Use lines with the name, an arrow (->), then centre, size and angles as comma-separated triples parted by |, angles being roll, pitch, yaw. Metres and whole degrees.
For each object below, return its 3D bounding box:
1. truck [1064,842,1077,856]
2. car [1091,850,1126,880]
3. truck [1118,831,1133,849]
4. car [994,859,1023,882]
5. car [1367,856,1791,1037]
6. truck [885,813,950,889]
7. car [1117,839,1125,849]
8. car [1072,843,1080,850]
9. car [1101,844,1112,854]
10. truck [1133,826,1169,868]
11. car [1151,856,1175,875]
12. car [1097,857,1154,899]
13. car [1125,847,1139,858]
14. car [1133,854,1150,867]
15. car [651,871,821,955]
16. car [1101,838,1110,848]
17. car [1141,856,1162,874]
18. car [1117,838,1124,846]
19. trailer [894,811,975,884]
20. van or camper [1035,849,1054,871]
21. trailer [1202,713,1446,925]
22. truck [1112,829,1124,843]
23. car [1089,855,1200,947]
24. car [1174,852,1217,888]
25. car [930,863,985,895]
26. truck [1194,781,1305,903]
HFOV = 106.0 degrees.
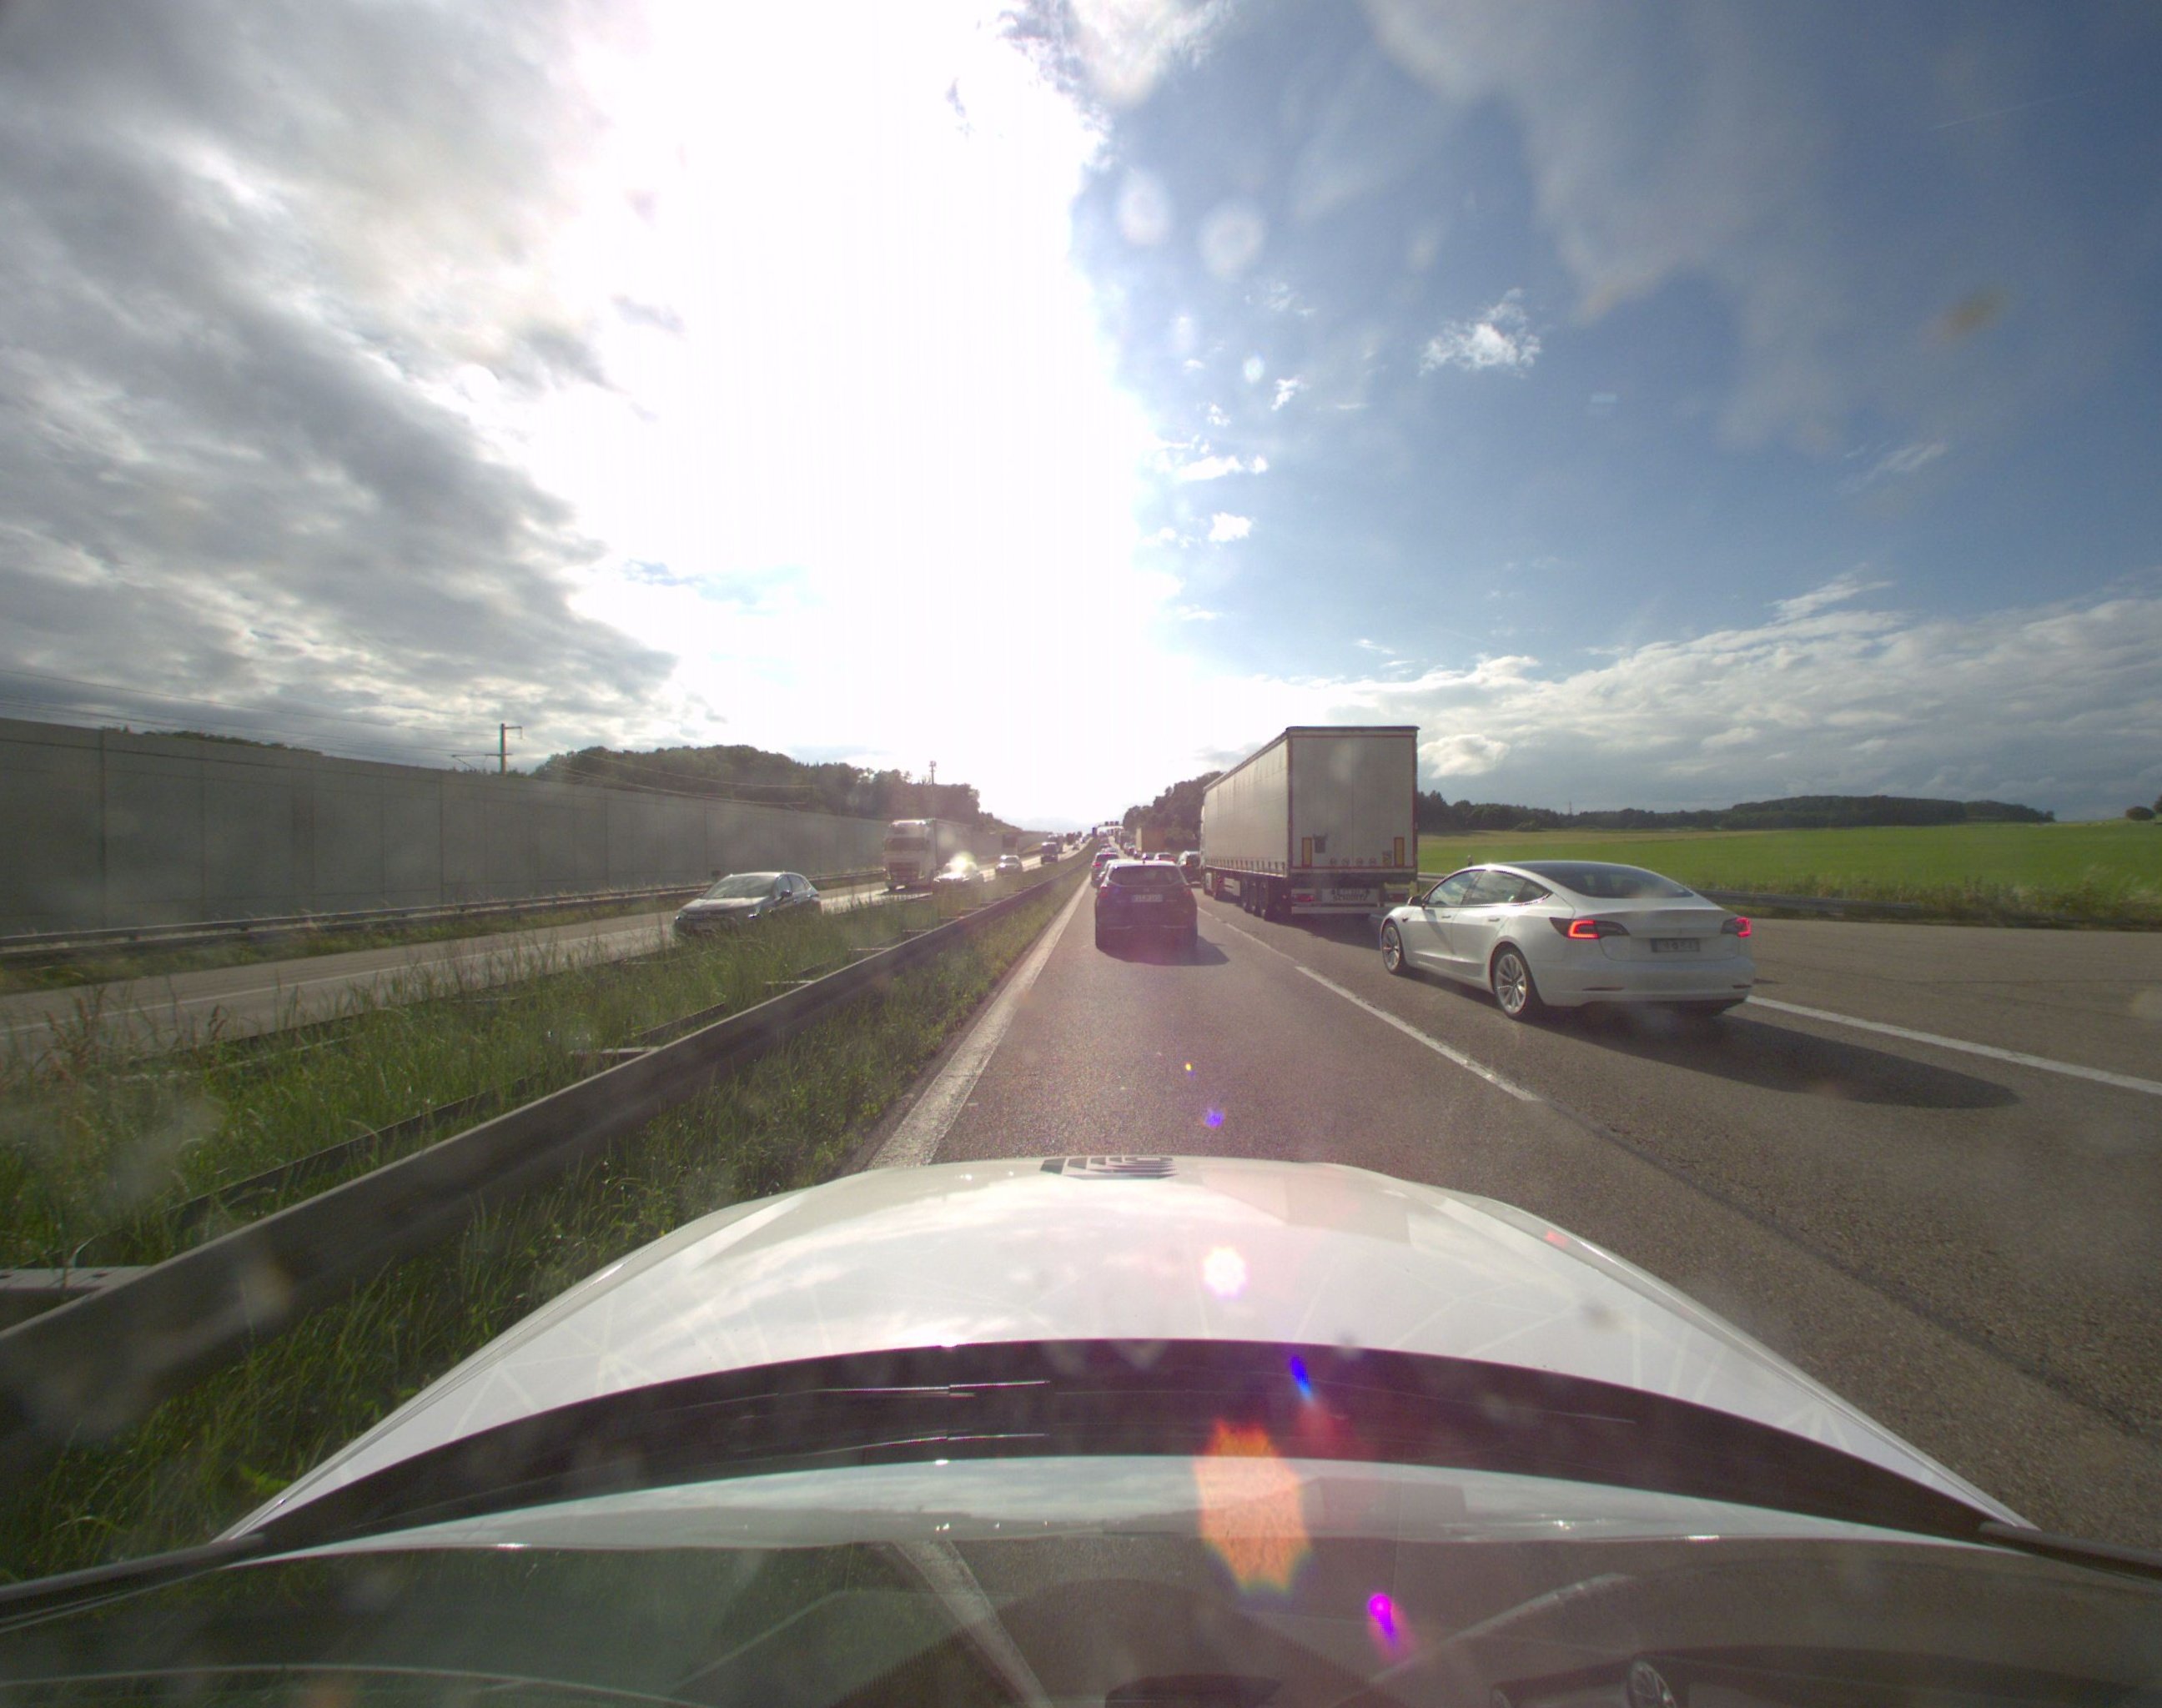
truck -> -3.273, -1.616, 265.335 | 3.283, 4.554, 12.452 | -1, 0, 3
car -> 1.588, 0.617, 47.151 | 1.866, 1.644, 4.234 | -1, -1, 2
truck -> 12.082, -3.787, 220.879 | 3.452, 4.577, 12.441 | 0, 1, 1
car -> -5.555, 1.236, 62.804 | 1.702, 1.706, 4.174 | -1, -1, 1
car -> 4.728, 0.742, 8.669 | 1.783, 1.394, 4.435 | -1, 0, 0
truck -> -9.599, -0.150, 48.426 | 2.371, 4.181, 5.934 | -2, -1, 2
car -> 9.659, -2.405, 195.596 | 1.866, 2.158, 5.214 | -1, 2, 2
car -> -1.196, -1.863, 202.482 | 1.738, 1.706, 4.231 | -3, -1, 0
car -> 4.437, -0.856, 144.015 | 1.867, 1.644, 4.233 | -1, 1, 1
truck -> 8.064, -0.664, 95.866 | 3.286, 4.577, 12.439 | 0, -1, 1
car -> 7.291, 1.045, 72.911 | 1.866, 1.644, 4.234 | -1, -1, 2
car -> 1.551, 0.813, 29.313 | 1.866, 1.358, 4.234 | -1, -1, 2
car -> 8.653, -0.293, 138.263 | 1.868, 1.644, 4.230 | -1, 1, -1
car -> 7.979, 0.802, 107.184 | 1.867, 1.644, 4.231 | -1, 0, 0
car -> -7.028, 1.137, 17.065 | 1.762, 1.479, 3.831 | -2, -1, 2
car -> 5.672, -2.509, 188.420 | 1.866, 2.158, 5.214 | -1, 2, 2
car -> 7.128, 1.088, 82.852 | 1.866, 1.644, 4.234 | -1, 0, 2
car -> 12.038, -3.682, 250.210 | 1.866, 2.158, 5.214 | -1, 2, 2
trailer -> -9.403, -0.290, 54.083 | 2.380, 4.182, 13.209 | -2, -1, 2
van or camper -> -4.730, 0.842, 106.807 | 2.082, 2.820, 5.897 | 0, -1, 2
trailer -> 5.616, -0.514, 22.197 | 3.118, 4.011, 13.372 | -1, -1, 2
truck -> 12.026, -5.803, 266.912 | 3.452, 4.577, 12.441 | 0, 1, 1
car -> 1.109, 0.780, 15.341 | 1.766, 1.451, 4.234 | -1, -1, 2
car -> 5.491, 0.742, 39.476 | 1.691, 1.611, 4.440 | -1, -1, 3
car -> -5.606, 1.107, 37.465 | 1.735, 1.358, 4.234 | -1, -1, 2
truck -> 5.931, -0.357, 29.563 | 3.121, 4.016, 5.166 | -1, -1, 2
